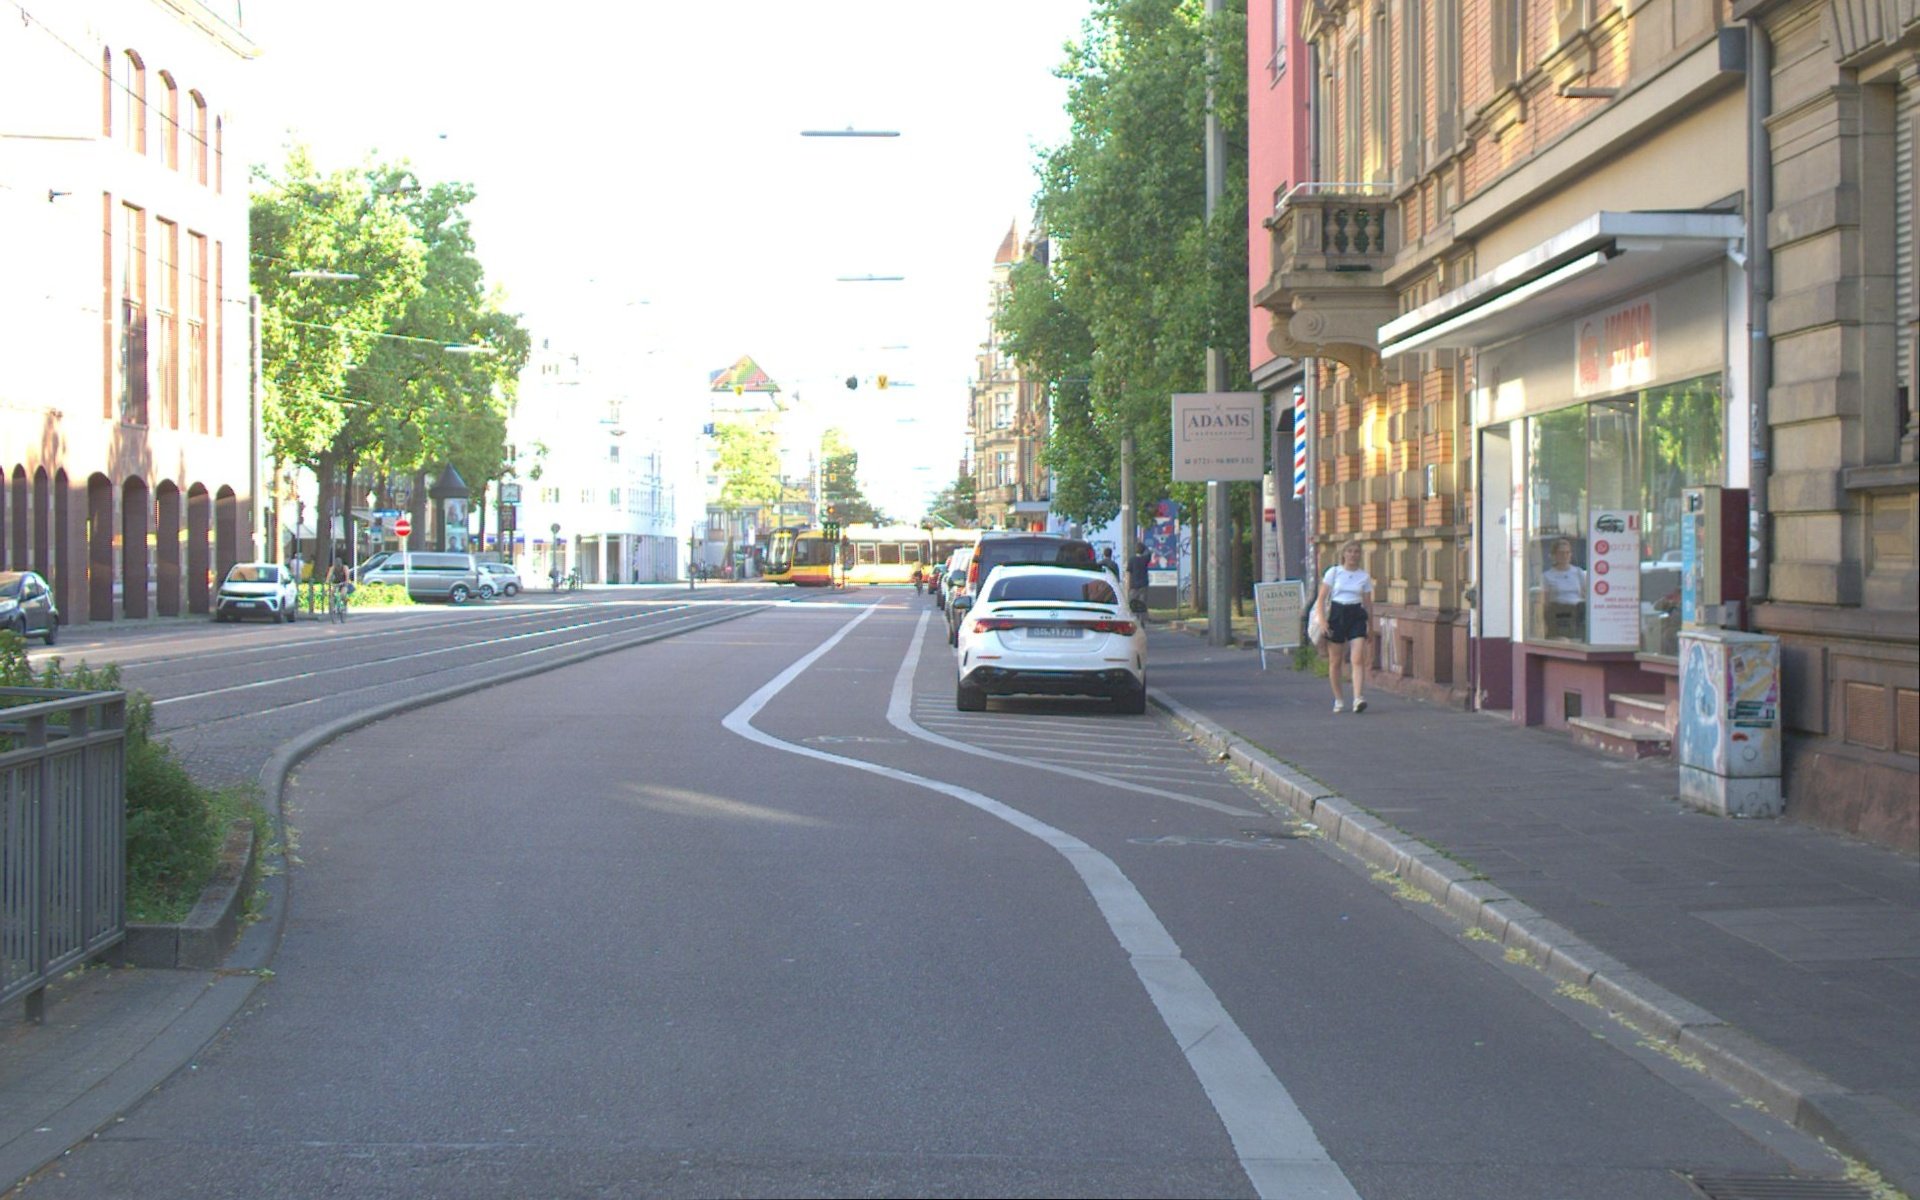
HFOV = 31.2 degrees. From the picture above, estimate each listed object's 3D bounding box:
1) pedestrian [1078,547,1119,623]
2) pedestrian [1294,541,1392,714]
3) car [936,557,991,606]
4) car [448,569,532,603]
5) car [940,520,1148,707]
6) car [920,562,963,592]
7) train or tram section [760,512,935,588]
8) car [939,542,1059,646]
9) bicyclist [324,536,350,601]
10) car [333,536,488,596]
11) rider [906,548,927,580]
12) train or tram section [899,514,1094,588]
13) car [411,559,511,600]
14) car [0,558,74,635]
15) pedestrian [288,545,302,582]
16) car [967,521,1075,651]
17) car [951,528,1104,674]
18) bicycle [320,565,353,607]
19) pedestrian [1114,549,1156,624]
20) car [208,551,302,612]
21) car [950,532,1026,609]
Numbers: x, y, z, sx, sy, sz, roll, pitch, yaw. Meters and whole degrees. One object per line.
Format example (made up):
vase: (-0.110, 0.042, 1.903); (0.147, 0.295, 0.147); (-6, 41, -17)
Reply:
pedestrian: (2.950, -0.326, 73.162); (0.776, 1.561, 0.914); (-3, 1, 1)
pedestrian: (3.595, 0.248, 32.338); (0.776, 1.561, 0.913); (-3, 1, 3)
car: (0.102, -0.627, 112.193); (1.723, 1.562, 4.083); (0, 1, -1)
car: (-22.049, -0.664, 161.213); (3.519, 1.476, 1.582); (2, 1, -32)
car: (0.832, 0.109, 35.717); (1.966, 1.765, 4.875); (2, 1, 0)
car: (-0.928, -1.173, 171.768); (2.065, 1.384, 4.225); (3, 1, -1)
train or tram section: (-6.386, -2.849, 198.827); (2.698, 3.946, 12.061); (3, 1, 39)
car: (0.678, -0.128, 63.776); (1.949, 1.782, 5.182); (2, 0, -2)
bicyclist: (-16.526, -0.834, 91.233); (0.571, 1.706, 0.746); (-2, 0, -5)
car: (-21.005, -1.281, 131.443); (5.252, 2.036, 2.419); (2, -1, -32)
rider: (-2.046, -1.675, 161.773); (0.883, 1.476, 0.713); (2, 0, 1)
train or tram section: (2.275, -2.920, 207.449); (12.804, 3.865, 2.700); (2, 1, -39)
car: (-21.892, -0.897, 150.722); (3.868, 1.622, 1.876); (2, 1, -31)
car: (-18.721, -0.088, 66.908); (1.869, 1.445, 3.583); (1, 0, 2)
pedestrian: (-24.742, -1.349, 127.917); (0.362, 1.339, 0.483); (3, 0, -21)
car: (1.064, -0.231, 58.394); (1.705, 2.112, 3.706); (1, 0, 2)
car: (0.915, -0.009, 47.668); (1.955, 1.862, 4.989); (2, 1, 1)
bicycle: (-16.495, -0.380, 90.986); (0.582, 1.074, 2.186); (-2, 1, -4)
pedestrian: (3.726, -0.289, 73.154); (0.776, 1.561, 0.914); (-3, 1, 1)
car: (-19.134, -0.523, 93.432); (1.869, 1.594, 4.255); (1, 1, -3)
car: (0.759, -0.801, 93.423); (1.971, 2.007, 4.558); (-1, 1, 0)
